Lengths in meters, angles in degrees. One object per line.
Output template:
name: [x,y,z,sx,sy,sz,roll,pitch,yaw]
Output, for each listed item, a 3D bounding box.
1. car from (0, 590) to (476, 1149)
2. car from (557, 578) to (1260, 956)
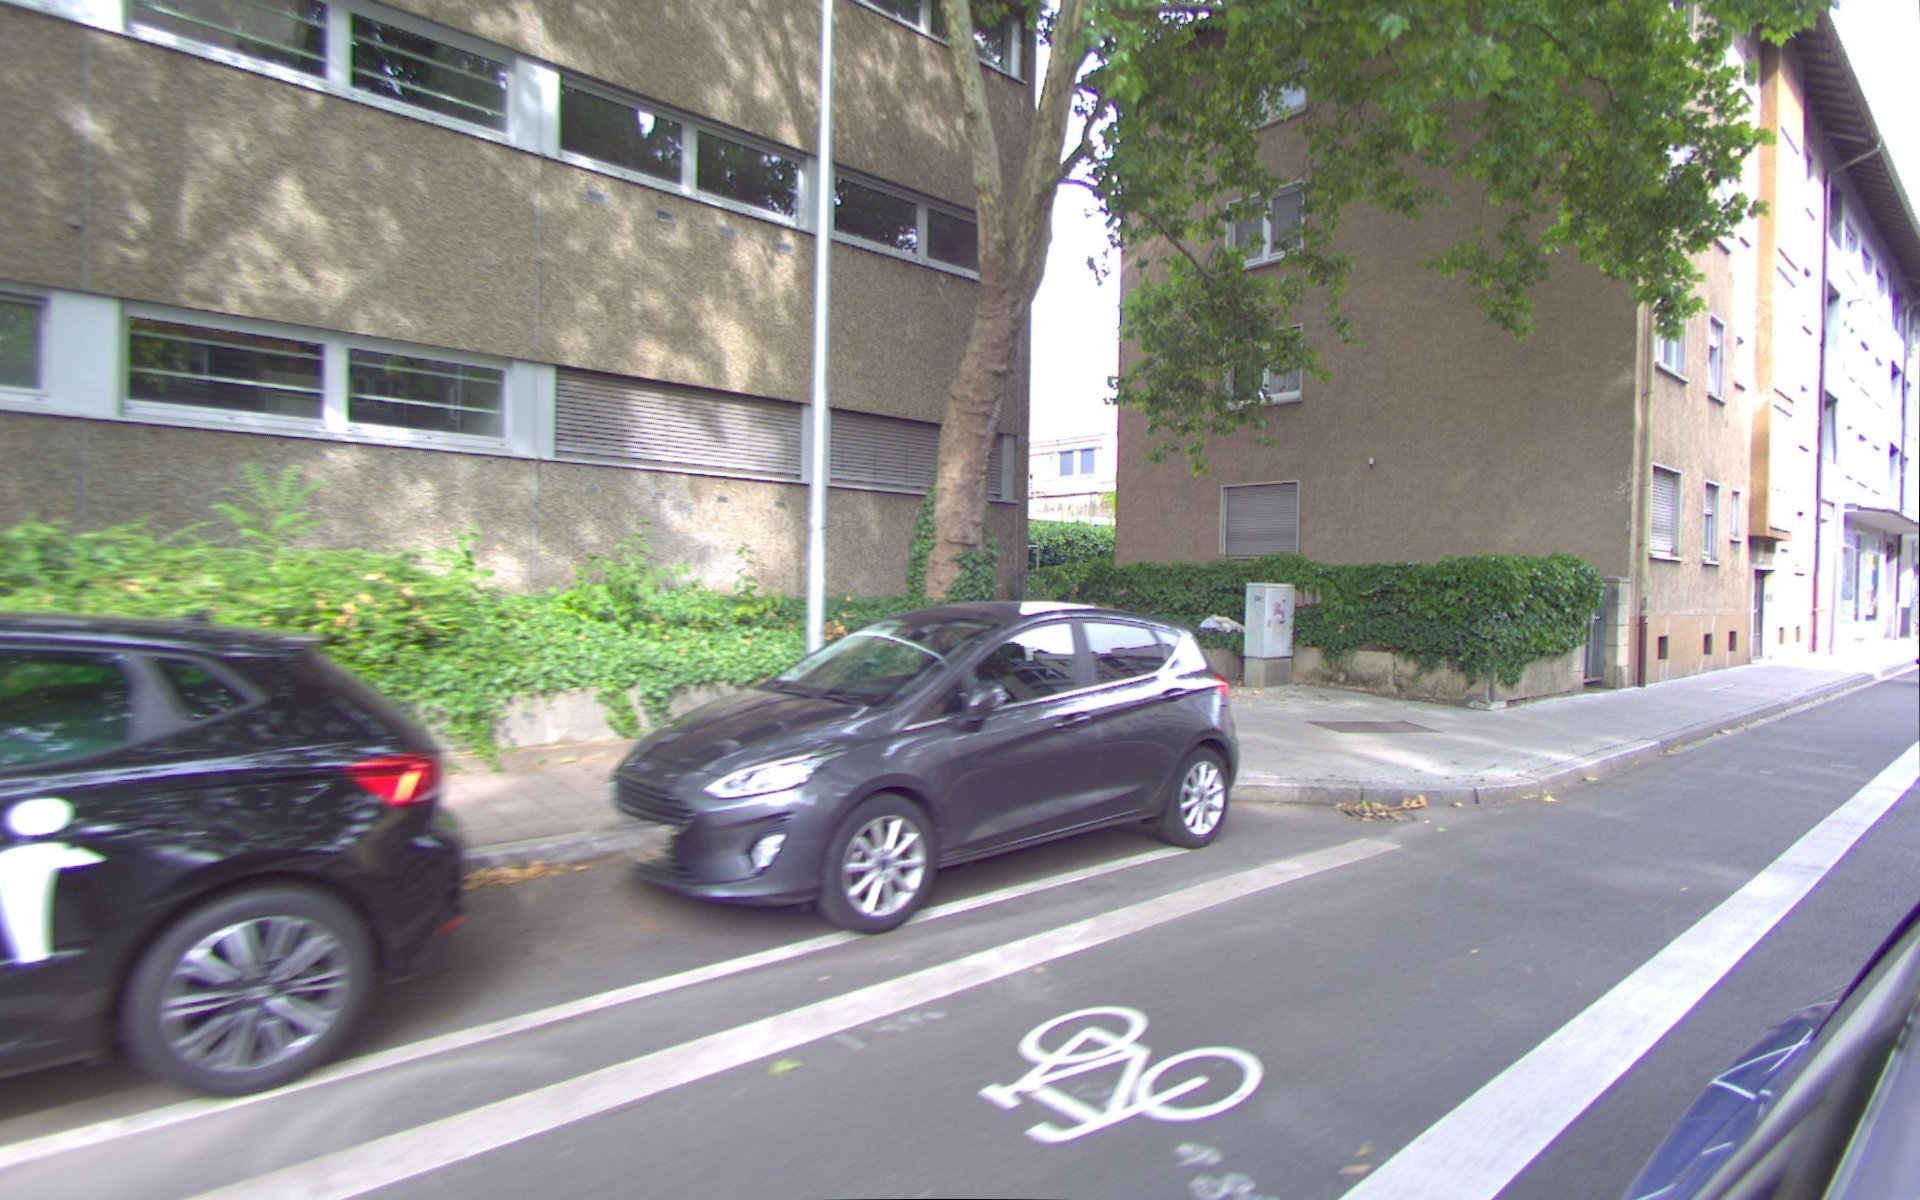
car: [-3.613,0.699,2.753,3.876,1.440,1.661,0,-1,-39]
car: [-0.078,0.652,5.792,3.799,1.440,1.661,1,1,-41]
